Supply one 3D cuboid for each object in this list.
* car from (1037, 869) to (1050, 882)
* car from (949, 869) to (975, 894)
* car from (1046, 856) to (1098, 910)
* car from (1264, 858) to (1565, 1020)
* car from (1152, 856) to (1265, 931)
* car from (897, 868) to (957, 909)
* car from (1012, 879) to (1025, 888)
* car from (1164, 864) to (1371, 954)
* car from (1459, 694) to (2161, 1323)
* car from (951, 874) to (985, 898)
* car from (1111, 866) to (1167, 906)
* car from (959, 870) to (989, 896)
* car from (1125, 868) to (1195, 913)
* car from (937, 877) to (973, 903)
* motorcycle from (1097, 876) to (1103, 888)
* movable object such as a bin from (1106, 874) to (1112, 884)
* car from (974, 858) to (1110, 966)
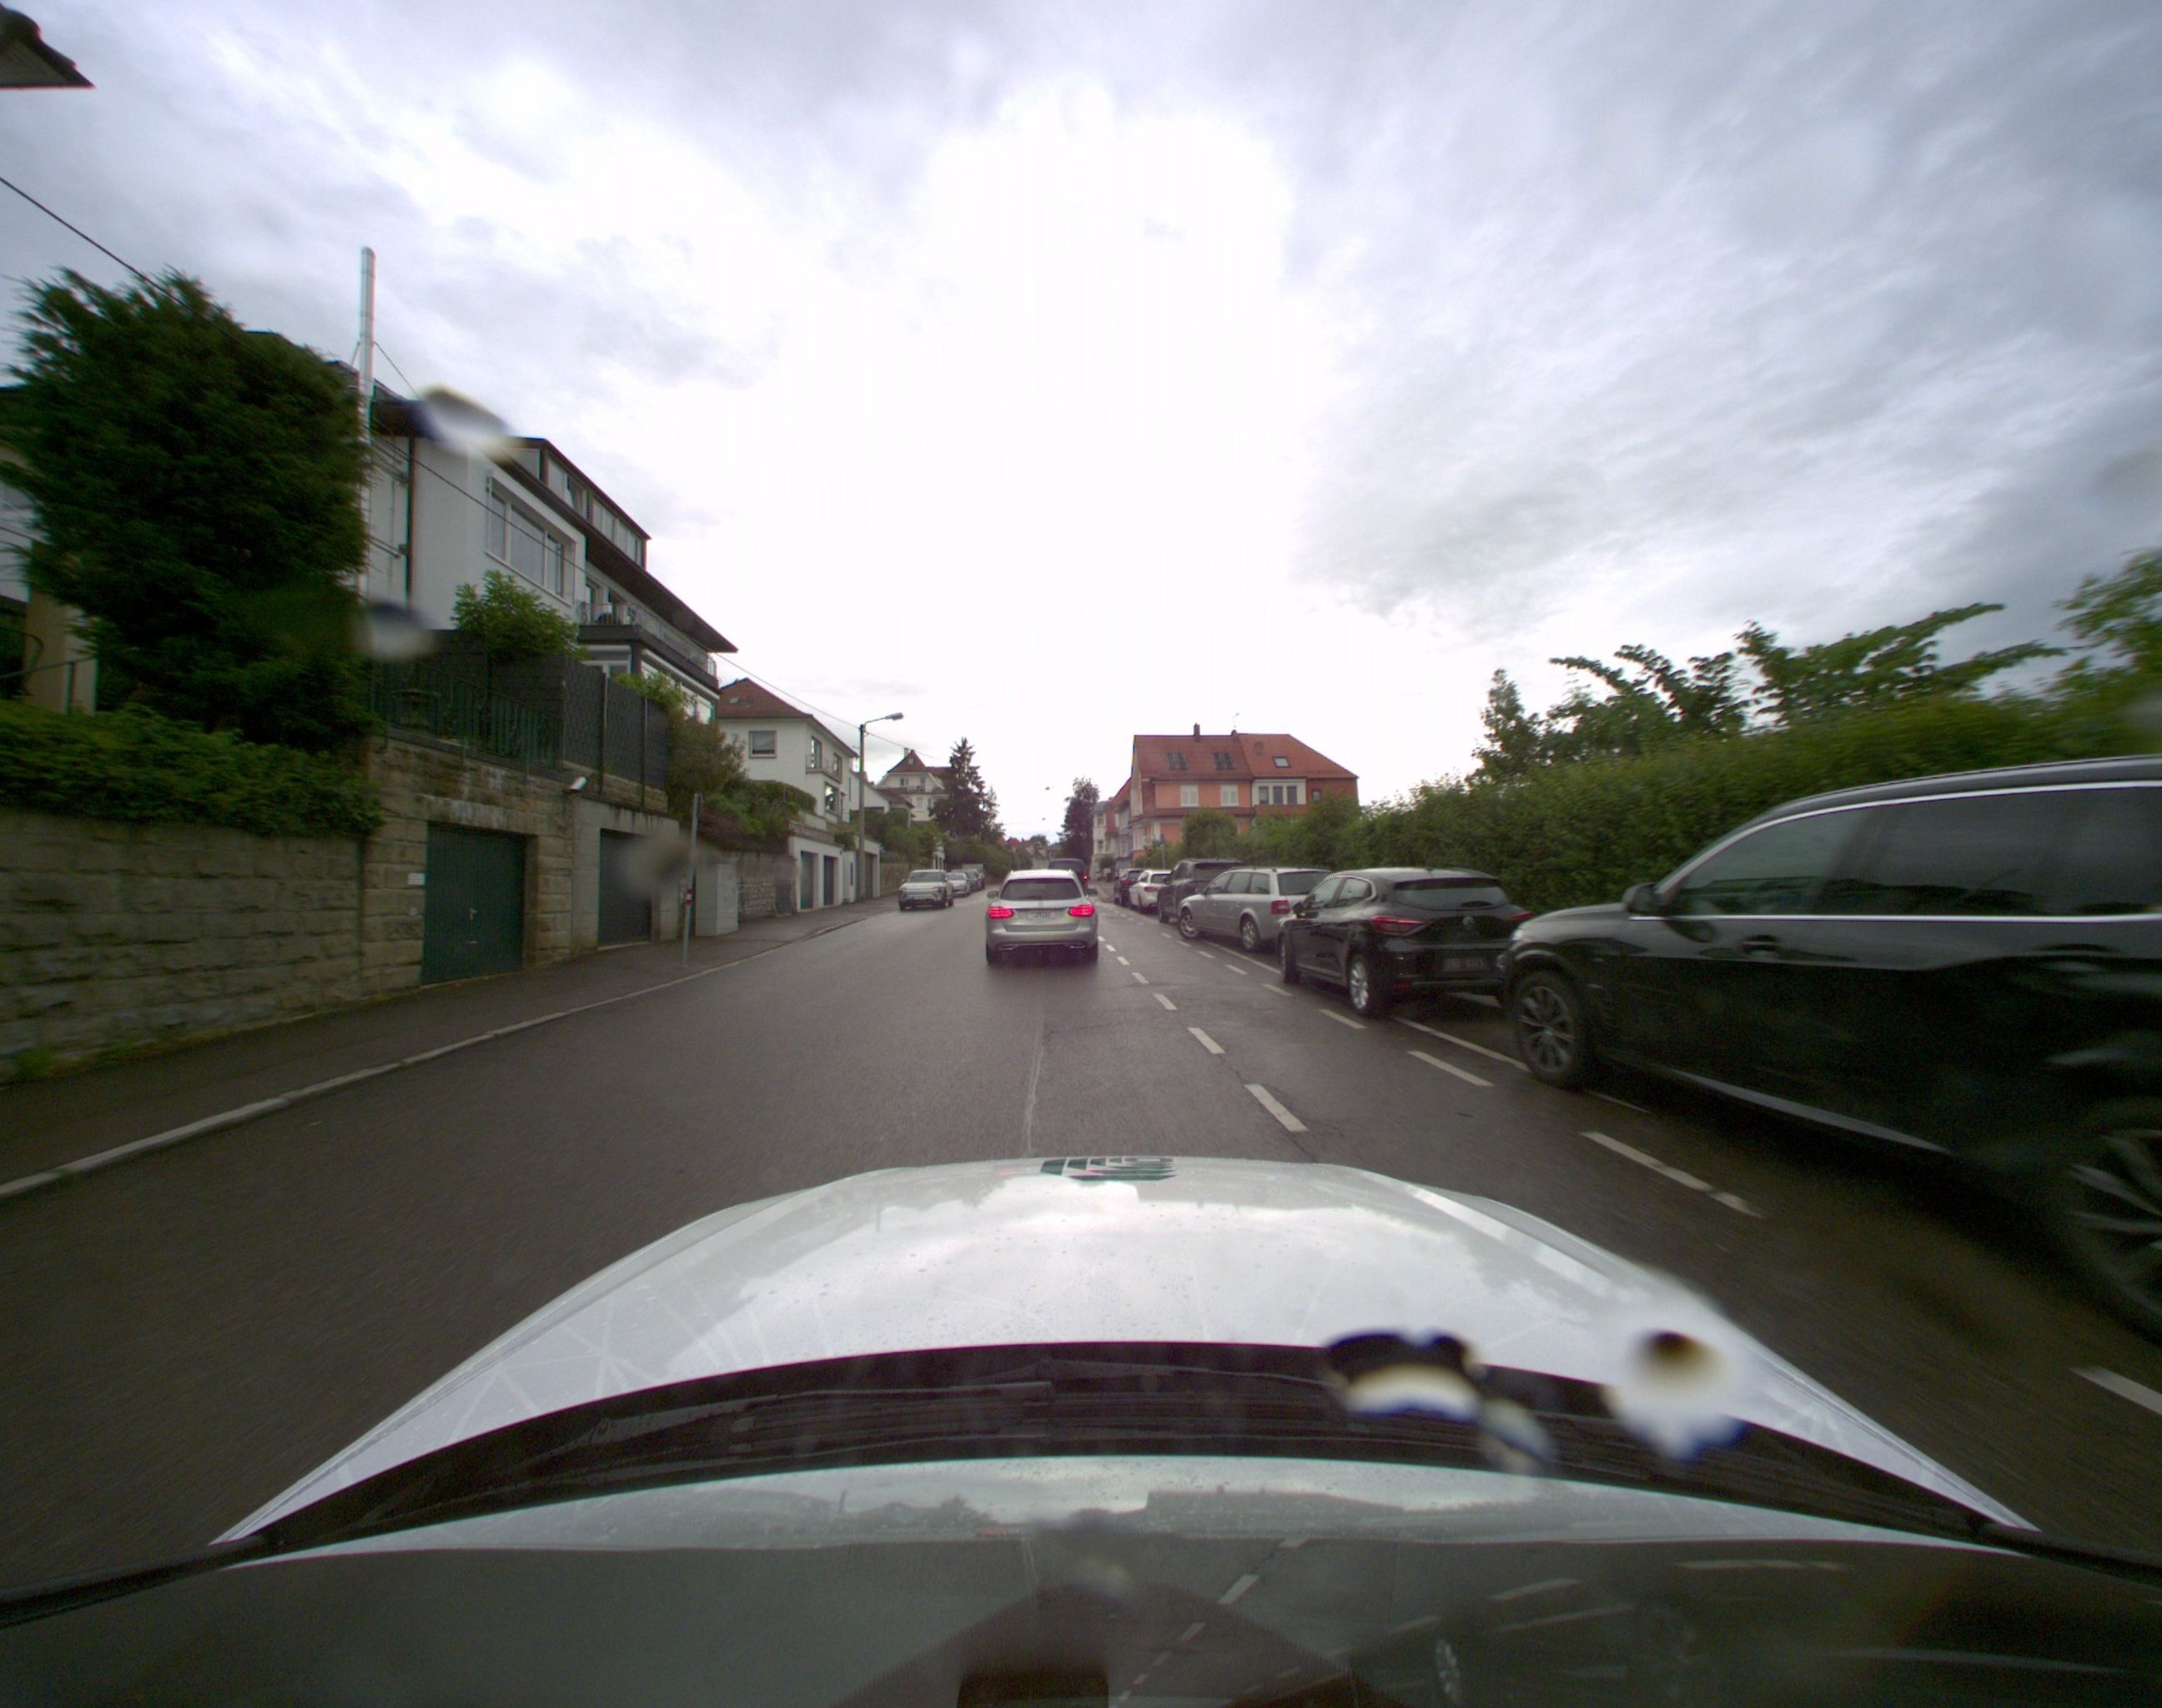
[{"bbox_3d":[-7.499,4.307,164.364,2.461,2.400,3.995,-3,-2,-3],"label":"car"},{"bbox_3d":[-7.480,1.726,51.435,1.495,1.524,3.151,1,-1,-7],"label":"car"},{"bbox_3d":[-0.331,1.085,31.936,1.818,1.883,4.094,-4,-1,0],"label":"car"},{"bbox_3d":[3.428,0.828,9.260,1.684,1.422,3.979,0,-2,-2],"label":"car"},{"bbox_3d":[3.119,0.962,20.875,1.883,1.663,4.540,1,-2,-4],"label":"car"},{"bbox_3d":[-6.372,1.413,34.033,1.894,1.567,4.232,0,-2,-3],"label":"car"},{"bbox_3d":[-10.423,4.839,135.668,2.113,1.471,4.010,1,-2,-4],"label":"car"},{"bbox_3d":[3.283,0.936,15.436,1.803,1.440,4.615,1,-1,-17],"label":"car"},{"bbox_3d":[4.008,0.460,3.829,2.022,1.783,4.893,0,-1,-3],"label":"car"},{"bbox_3d":[-7.755,2.180,56.081,1.894,1.515,4.337,1,-2,-3],"label":"car"},{"bbox_3d":[2.311,1.296,33.539,1.750,1.530,4.200,1,-2,-3],"label":"car"},{"bbox_3d":[-8.133,2.168,62.079,2.127,1.860,5.580,1,-2,-7],"label":"car"},{"bbox_3d":[2.634,1.225,28.052,1.710,1.405,4.601,1,-1,-3],"label":"car"},{"bbox_3d":[-7.176,2.032,46.593,1.606,1.338,3.836,1,-1,-3],"label":"car"},{"bbox_3d":[2.027,3.034,87.176,0.580,1.262,2.331,-2,-2,0],"label":"motorcycle"},{"bbox_3d":[2.660,2.409,77.506,0.547,0.936,0.633,-3,-2,-3],"label":"movable object such as a bin"},{"bbox_3d":[-0.659,0.904,14.109,1.978,1.554,4.293,0,-2,-3],"label":"car"}]
